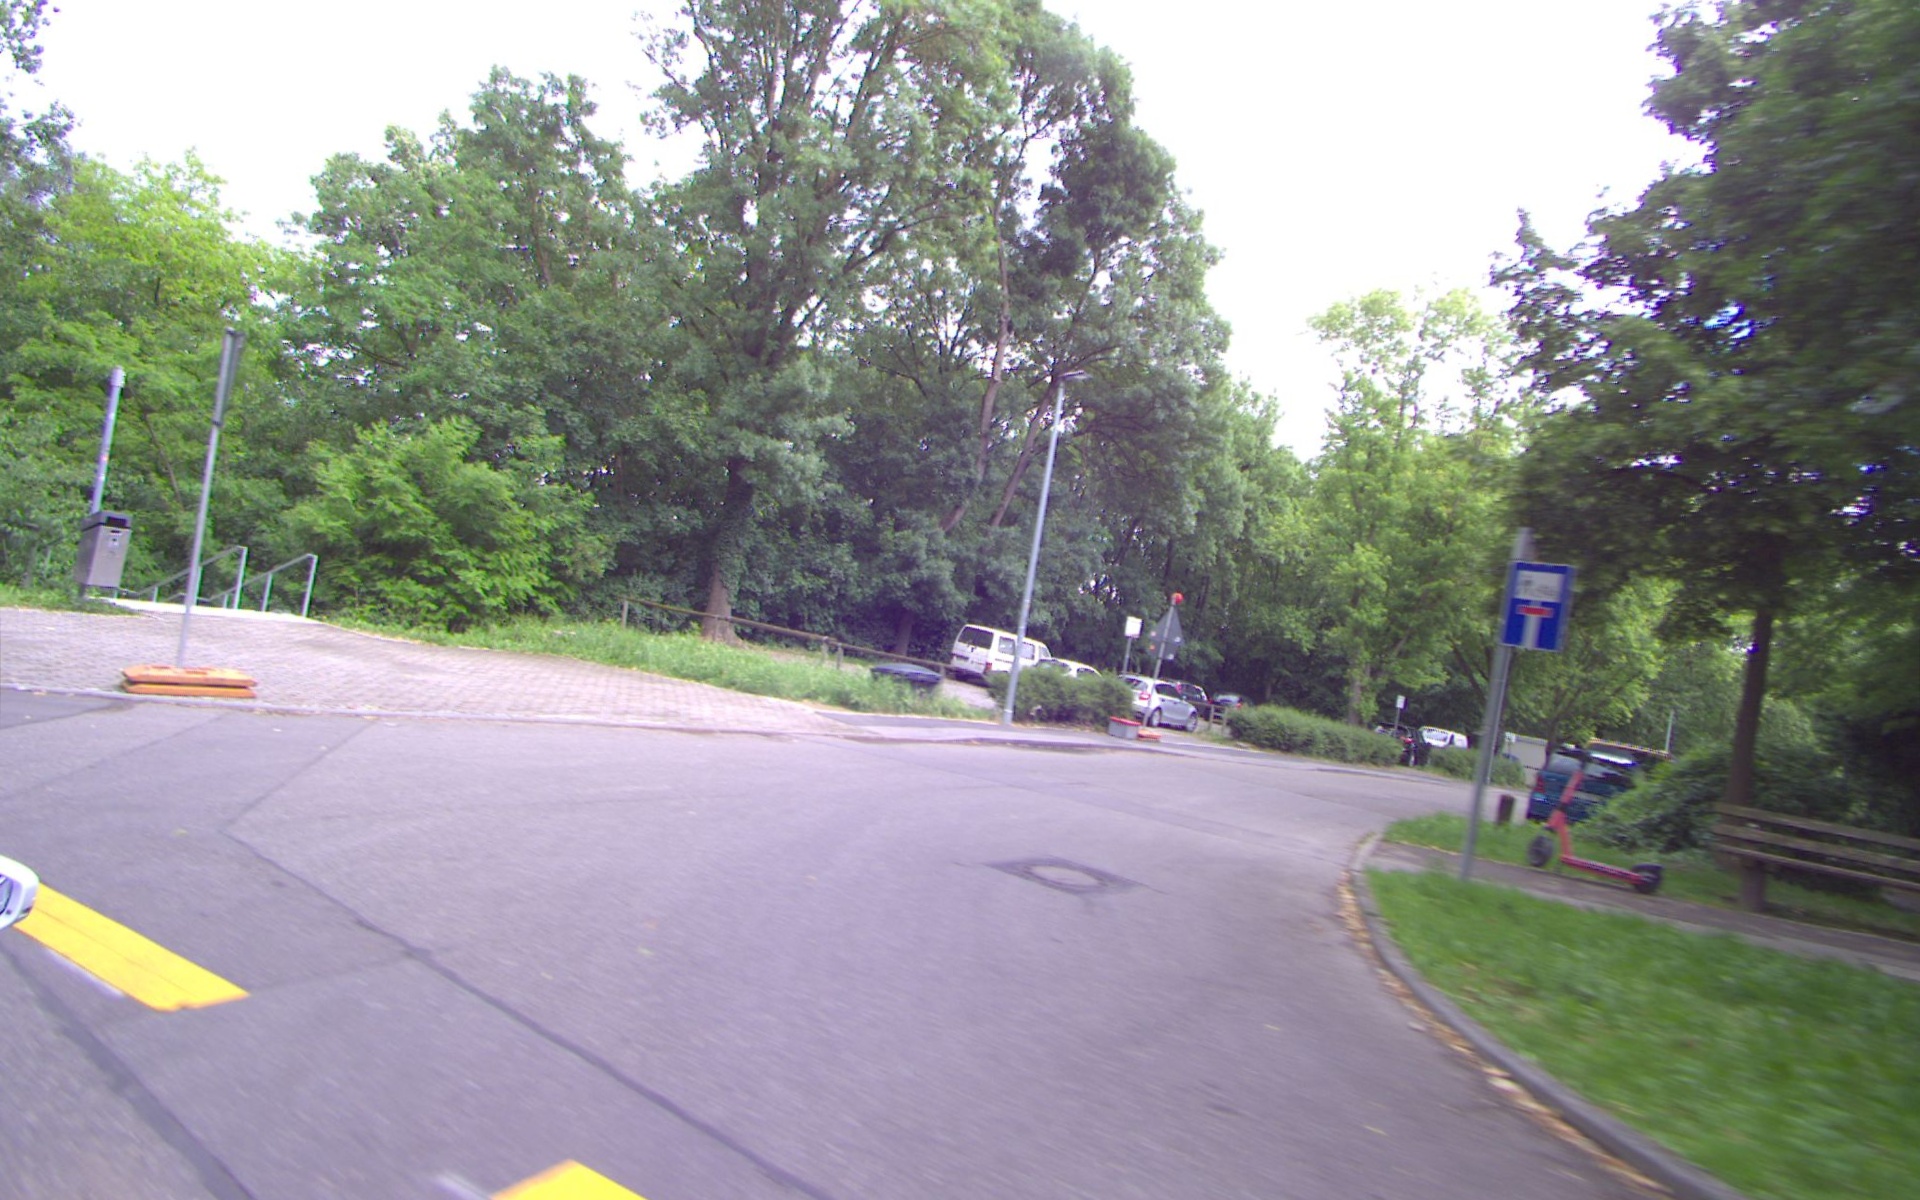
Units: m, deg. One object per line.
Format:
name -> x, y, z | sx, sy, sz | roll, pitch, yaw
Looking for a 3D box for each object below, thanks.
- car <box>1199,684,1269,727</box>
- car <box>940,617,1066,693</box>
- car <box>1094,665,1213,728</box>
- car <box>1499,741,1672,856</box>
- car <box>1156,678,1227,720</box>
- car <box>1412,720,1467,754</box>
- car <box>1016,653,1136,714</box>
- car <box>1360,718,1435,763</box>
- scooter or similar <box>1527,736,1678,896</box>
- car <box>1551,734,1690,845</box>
car -> 12.649, 4.878, 46.307 | 1.742, 1.587, 3.519 | 7, -3, 38
car -> 1.511, 1.880, 33.866 | 1.970, 2.036, 4.208 | 6, -2, 38
car -> 5.999, 2.996, 30.908 | 1.773, 1.516, 4.208 | 6, -3, 38
car -> 11.443, 3.565, 18.318 | 1.809, 1.588, 3.511 | 6, -3, 45
car -> 10.992, 4.698, 47.576 | 1.805, 1.587, 3.519 | 7, -3, 38
car -> 26.229, 7.496, 54.951 | 1.773, 1.516, 4.208 | 6, -3, 38
car -> 3.771, 2.695, 32.043 | 1.773, 1.516, 4.208 | 6, -3, 38
car -> 18.092, 5.794, 41.483 | 1.773, 1.516, 4.208 | 6, -3, 38
scooter or similar -> 6.194, 2.053, 9.723 | 1.090, 1.301, 0.283 | 7, -1, 35
car -> 14.498, 4.074, 21.972 | 1.807, 1.869, 4.394 | 7, -3, 41
